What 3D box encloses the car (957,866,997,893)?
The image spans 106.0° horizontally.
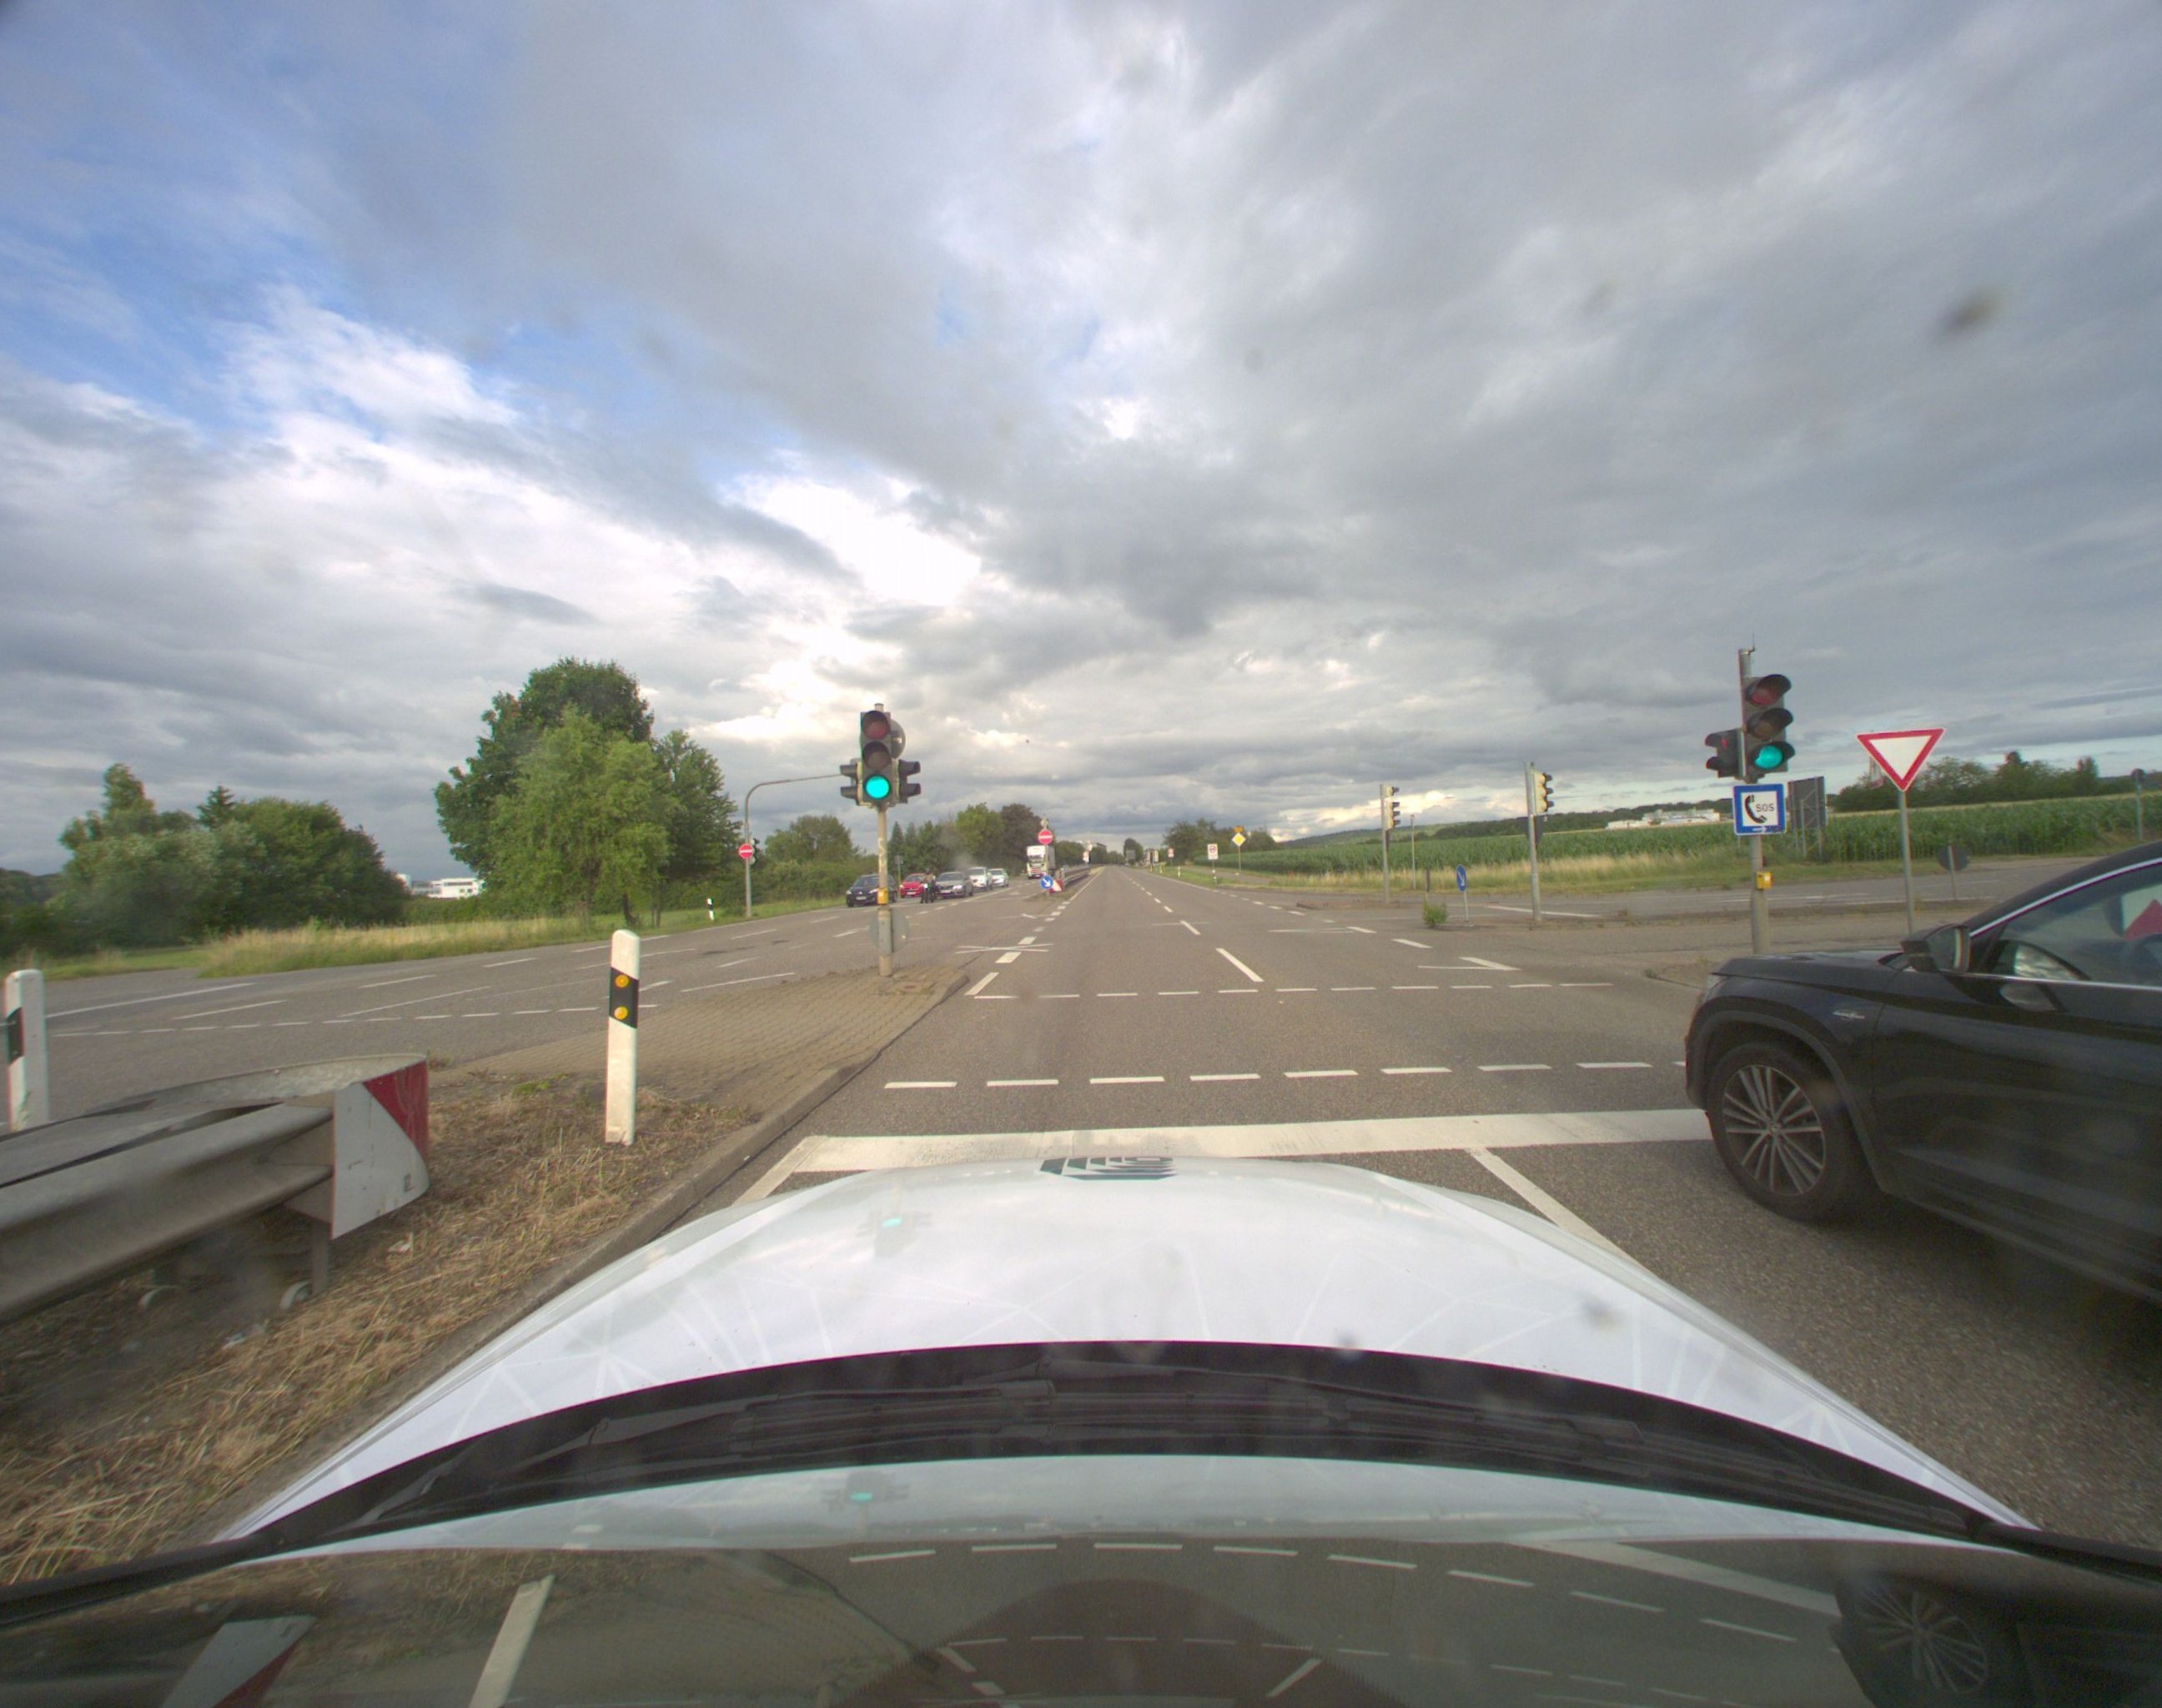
[{"bbox_3d":[-6.916,1.661,54.516,1.900,1.610,4.406,-3,-1,2],"label":"car"}]

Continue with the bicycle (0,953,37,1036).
[{"bbox_3d":[-16.504,2.072,11.659,2.307,1.137,0.817,-3,-1,7],"label":"bicycle"}]

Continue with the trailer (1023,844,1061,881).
[{"bbox_3d":[-4.856,1.109,104.931,3.452,4.150,13.922,-4,-1,2],"label":"trailer"}]

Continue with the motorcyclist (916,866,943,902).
[{"bbox_3d":[-7.389,1.452,39.718,0.913,1.709,1.276,-3,-1,2],"label":"motorcyclist"}]

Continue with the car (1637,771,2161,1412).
[{"bbox_3d":[3.692,0.604,1.871,1.838,1.650,4.482,0,-1,1],"label":"car"}]

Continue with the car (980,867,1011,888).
[{"bbox_3d":[-6.534,1.806,62.665,1.782,1.444,4.162,-3,-1,2],"label":"car"}]

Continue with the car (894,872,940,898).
[{"bbox_3d":[-10.506,1.939,52.521,1.900,1.465,4.185,-3,-1,2],"label":"car"}]

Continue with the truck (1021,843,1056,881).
[{"bbox_3d":[-5.103,0.963,98.622,3.461,4.150,6.052,-4,-1,2],"label":"truck"}]

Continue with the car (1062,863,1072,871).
[{"bbox_3d":[-2.958,2.764,173.967,1.782,1.386,4.162,-3,-1,2],"label":"car"}]

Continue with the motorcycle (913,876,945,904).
[{"bbox_3d":[-7.383,1.732,39.714,0.913,1.203,2.480,-4,-1,2],"label":"motorcycle"}]

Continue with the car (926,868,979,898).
[{"bbox_3d":[-7.063,1.582,45.267,1.900,1.428,5.154,-3,-1,2],"label":"car"}]

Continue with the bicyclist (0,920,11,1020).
[{"bbox_3d":[-16.422,1.727,11.650,1.216,1.451,0.817,-3,-1,7],"label":"bicyclist"}]

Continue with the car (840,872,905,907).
[{"bbox_3d":[-10.836,1.807,42.732,1.900,1.535,4.940,-3,-1,2],"label":"car"}]
